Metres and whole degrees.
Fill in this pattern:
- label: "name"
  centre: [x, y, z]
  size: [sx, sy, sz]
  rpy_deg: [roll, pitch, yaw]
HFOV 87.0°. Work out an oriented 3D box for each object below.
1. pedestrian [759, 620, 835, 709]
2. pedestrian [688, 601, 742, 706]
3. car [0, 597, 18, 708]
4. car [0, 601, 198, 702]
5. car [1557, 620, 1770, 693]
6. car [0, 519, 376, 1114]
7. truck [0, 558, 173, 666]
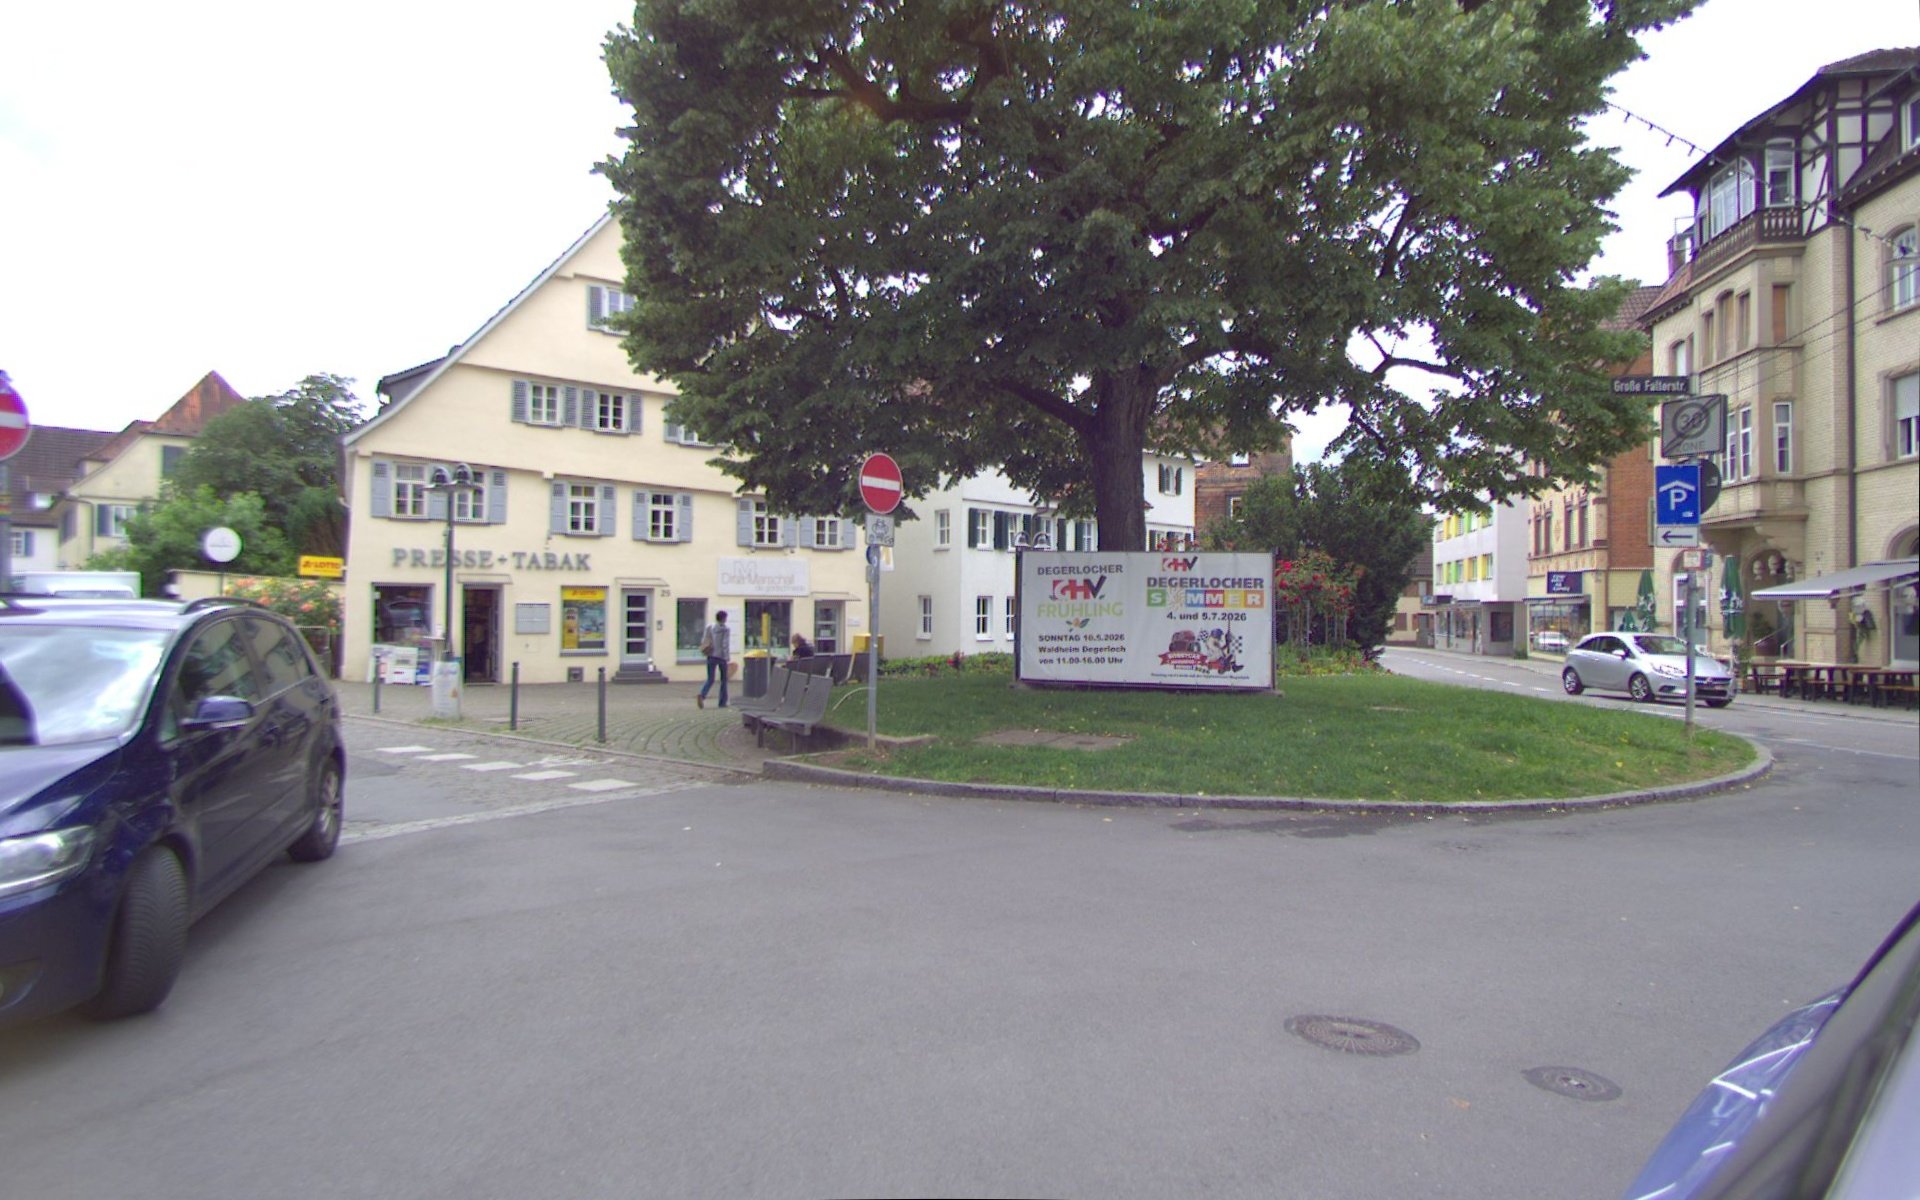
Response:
- label: "pedestrian"
  centre: [-2.659, 1.035, 16.575]
  size: [0.848, 1.398, 0.967]
  rpy_deg: [-1, -1, 24]
- label: "pedestrian"
  centre: [-4.268, 0.905, 17.594]
  size: [0.779, 1.767, 0.713]
  rpy_deg: [0, -2, -25]
- label: "car"
  centre: [-15.873, 0.784, 14.979]
  size: [4.357, 1.567, 2.096]
  rpy_deg: [-2, -2, 37]
- label: "car"
  centre: [-15.150, 0.813, 17.496]
  size: [3.975, 1.534, 1.764]
  rpy_deg: [1, -1, 31]
- label: "car"
  centre: [14.726, 1.127, 21.492]
  size: [1.723, 1.372, 3.998]
  rpy_deg: [0, -1, 1]
- label: "car"
  centre: [-4.129, 0.662, 4.606]
  size: [1.823, 1.725, 4.030]
  rpy_deg: [-1, 0, -20]
- label: "truck"
  centre: [-24.506, 0.331, 28.153]
  size: [5.261, 2.725, 2.805]
  rpy_deg: [-1, -1, 36]
